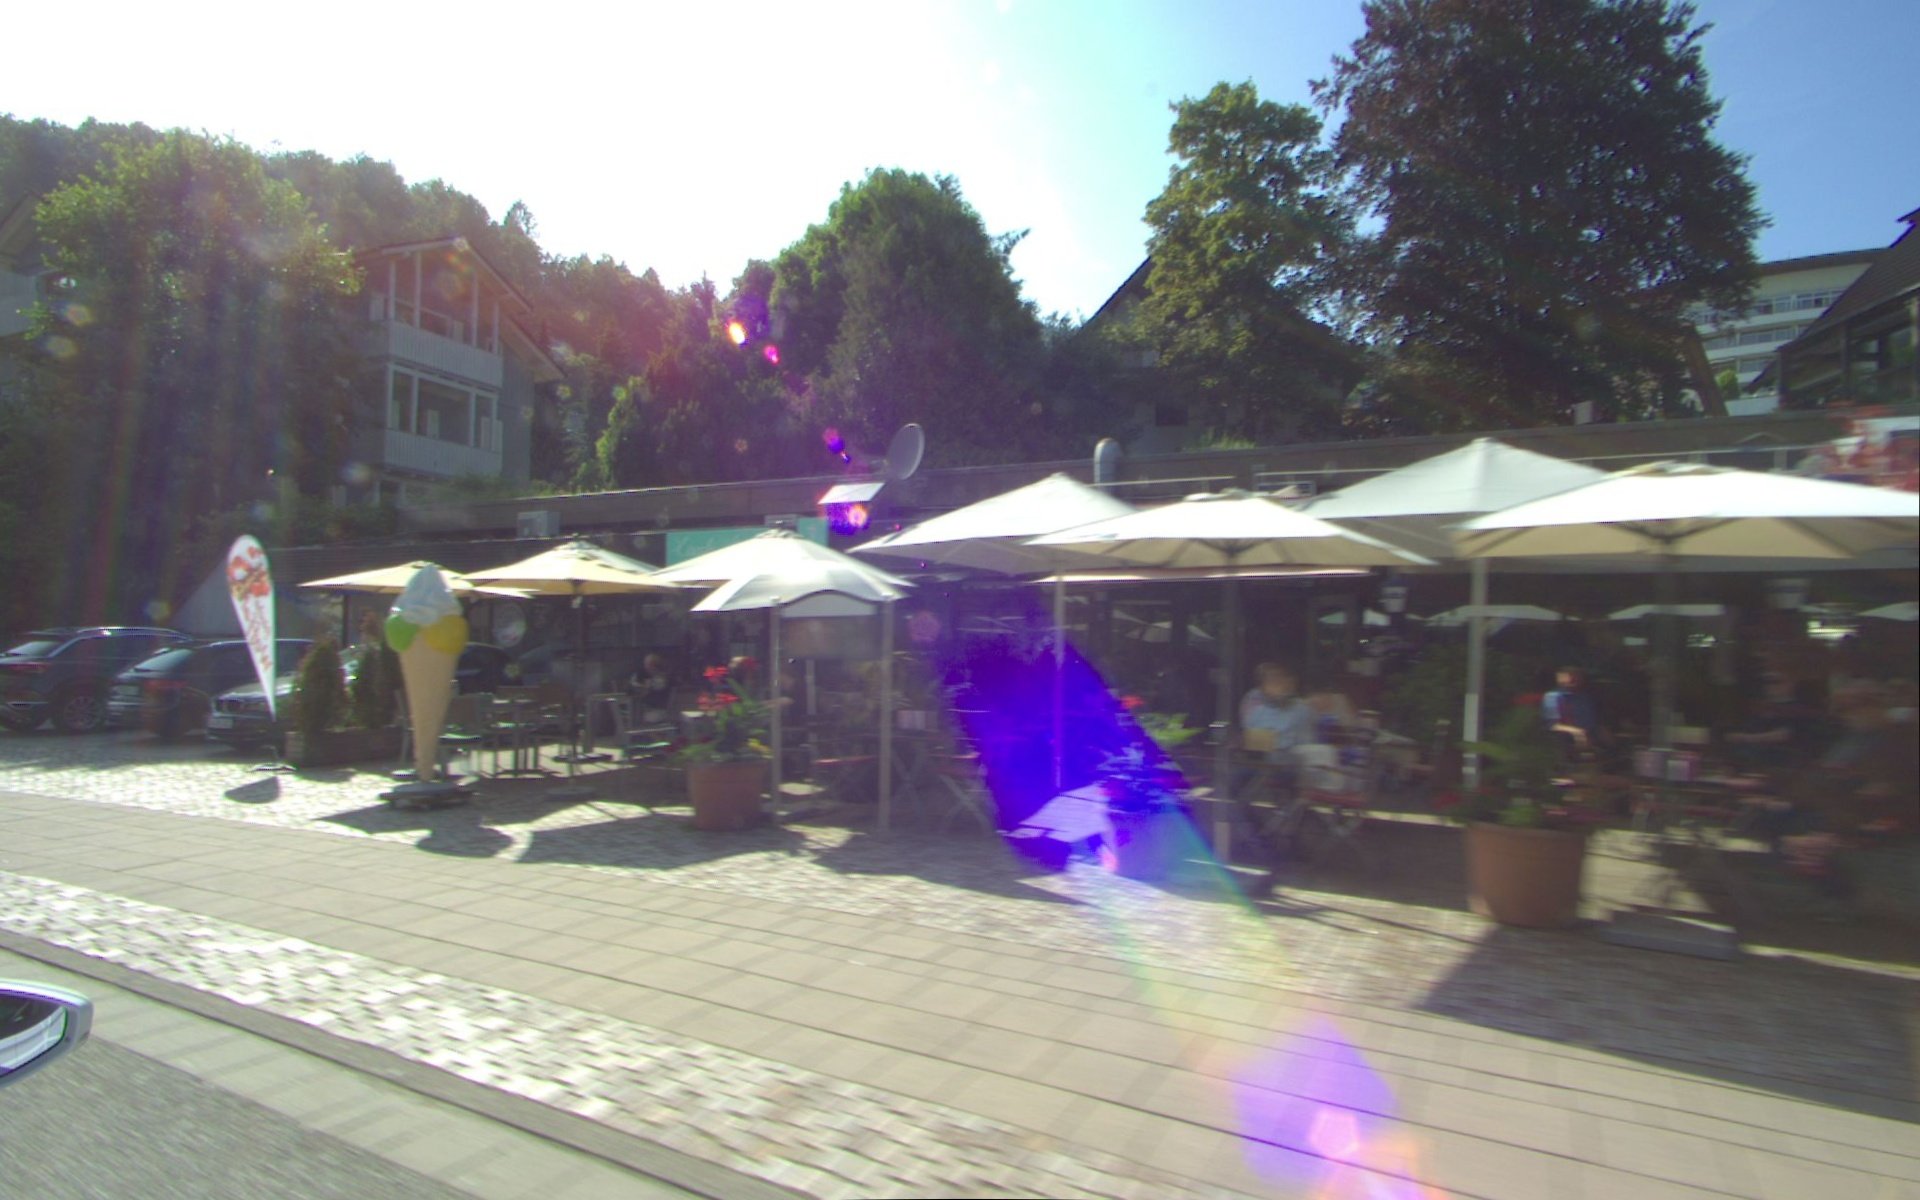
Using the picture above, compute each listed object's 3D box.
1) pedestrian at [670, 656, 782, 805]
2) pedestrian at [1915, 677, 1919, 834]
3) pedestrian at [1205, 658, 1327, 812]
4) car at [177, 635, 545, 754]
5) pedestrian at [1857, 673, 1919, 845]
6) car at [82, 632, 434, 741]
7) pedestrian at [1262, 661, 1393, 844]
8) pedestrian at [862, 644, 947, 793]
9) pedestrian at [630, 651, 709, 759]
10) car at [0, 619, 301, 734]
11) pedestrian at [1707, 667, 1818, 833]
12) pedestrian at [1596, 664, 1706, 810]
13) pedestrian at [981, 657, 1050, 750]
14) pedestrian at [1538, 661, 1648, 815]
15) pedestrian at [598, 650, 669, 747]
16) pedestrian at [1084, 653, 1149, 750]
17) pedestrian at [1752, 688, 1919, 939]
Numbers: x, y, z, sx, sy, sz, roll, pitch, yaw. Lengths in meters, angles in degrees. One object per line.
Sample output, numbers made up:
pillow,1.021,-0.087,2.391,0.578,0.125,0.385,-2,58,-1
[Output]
pedestrian,-2.135,1.163,9.210,0.687,1.277,0.812,0,-1,16
pedestrian,7.923,1.242,7.943,0.463,1.248,0.389,1,0,-30
pedestrian,2.690,1.164,8.852,0.797,1.277,0.700,1,-1,-11
car,-8.171,1.213,14.152,1.681,1.396,4.265,-1,-2,25
pedestrian,7.394,1.226,7.818,0.433,1.282,0.469,0,0,21
car,-10.499,1.224,15.348,1.720,1.433,4.112,-1,-2,25
pedestrian,2.835,1.121,7.707,0.693,1.277,0.805,0,-1,43
pedestrian,-0.558,1.144,9.904,0.797,1.399,0.700,1,-1,-6
pedestrian,-3.664,1.292,12.622,0.693,1.277,0.806,1,-1,-39
car,-13.118,1.146,16.104,1.720,1.600,3.877,0,-2,25
pedestrian,6.823,1.249,8.538,0.599,1.321,0.530,0,0,22
pedestrian,6.534,1.271,9.483,0.570,1.299,0.638,0,0,-12
pedestrian,0.769,1.412,13.881,0.679,1.224,0.696,1,-1,-34
pedestrian,5.771,1.235,9.152,0.570,1.321,0.638,0,0,-12
pedestrian,-4.542,1.340,13.914,0.693,1.277,0.806,1,-1,-39
pedestrian,2.218,1.427,14.236,0.677,1.316,0.635,1,-1,-26
pedestrian,4.785,1.126,5.438,0.582,1.261,0.473,-1,0,8
